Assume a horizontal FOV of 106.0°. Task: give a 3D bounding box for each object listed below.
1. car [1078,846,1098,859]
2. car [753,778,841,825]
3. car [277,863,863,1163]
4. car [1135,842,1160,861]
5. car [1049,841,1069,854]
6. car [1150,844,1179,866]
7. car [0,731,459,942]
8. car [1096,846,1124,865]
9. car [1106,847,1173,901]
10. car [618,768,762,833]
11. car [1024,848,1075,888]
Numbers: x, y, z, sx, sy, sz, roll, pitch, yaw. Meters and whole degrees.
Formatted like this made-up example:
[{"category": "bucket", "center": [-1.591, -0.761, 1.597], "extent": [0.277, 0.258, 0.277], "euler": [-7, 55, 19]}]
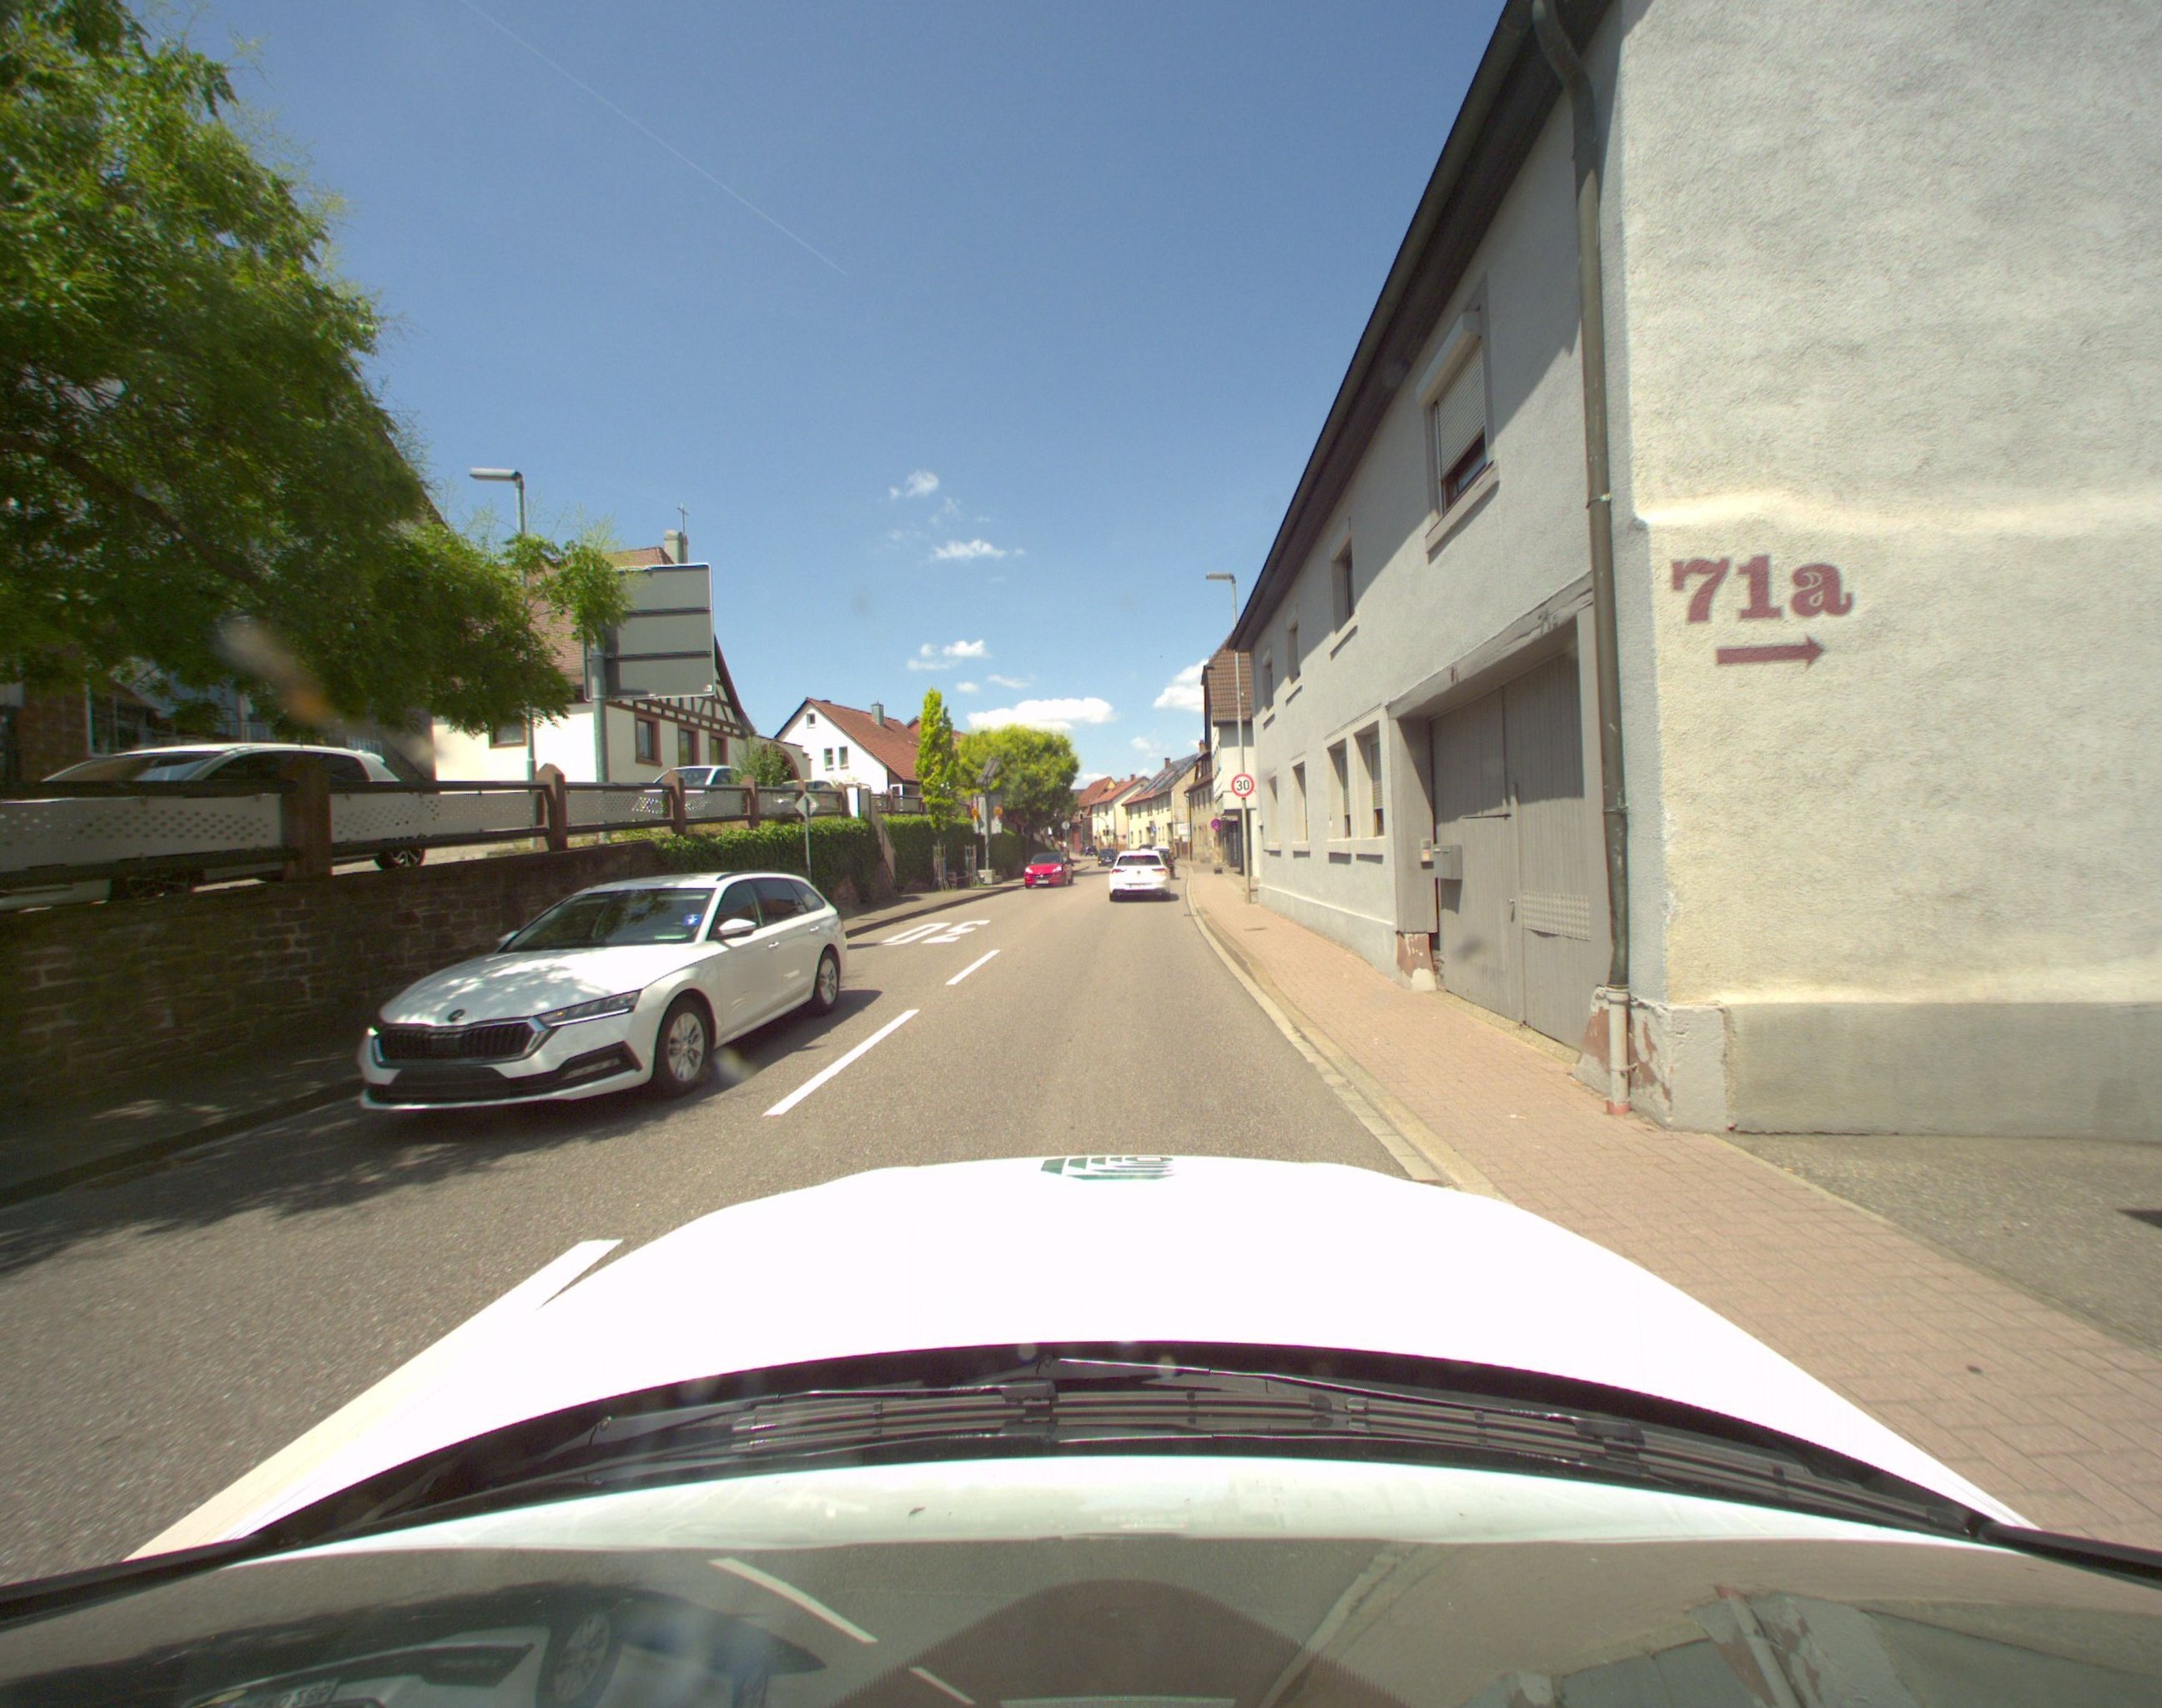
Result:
[{"category": "car", "center": [0.893, -0.159, 103.211], "extent": [1.776, 1.538, 3.985], "euler": [-3, 1, -11]}, {"category": "car", "center": [-9.520, -1.842, 27.574], "extent": [1.572, 1.361, 3.856], "euler": [-2, 6, -1]}, {"category": "car", "center": [-3.412, 0.901, 6.697], "extent": [1.806, 1.446, 4.432], "euler": [-4, 0, 2]}, {"category": "car", "center": [6.015, -0.251, 74.084], "extent": [1.770, 1.538, 3.998], "euler": [-3, 1, -1]}, {"category": "car", "center": [-3.213, -0.860, 116.872], "extent": [1.781, 1.765, 3.974], "euler": [-3, 1, -19]}, {"category": "car", "center": [5.822, 0.051, 56.388], "extent": [1.798, 1.467, 4.009], "euler": [-1, 0, 8]}, {"category": "car", "center": [-8.436, -0.303, 7.917], "extent": [1.688, 1.542, 3.856], "euler": [-2, 6, -1]}, {"category": "car", "center": [2.378, 0.066, 66.128], "extent": [1.784, 1.377, 4.125], "euler": [-3, 1, 7]}, {"category": "car", "center": [1.677, 0.547, 24.577], "extent": [1.801, 1.467, 4.001], "euler": [-1, 0, 1]}, {"category": "car", "center": [-9.346, -1.381, 19.844], "extent": [1.572, 1.361, 3.856], "euler": [-2, 6, -1]}, {"category": "car", "center": [-1.305, 0.560, 34.960], "extent": [1.609, 1.444, 3.807], "euler": [-4, 0, 5]}]
